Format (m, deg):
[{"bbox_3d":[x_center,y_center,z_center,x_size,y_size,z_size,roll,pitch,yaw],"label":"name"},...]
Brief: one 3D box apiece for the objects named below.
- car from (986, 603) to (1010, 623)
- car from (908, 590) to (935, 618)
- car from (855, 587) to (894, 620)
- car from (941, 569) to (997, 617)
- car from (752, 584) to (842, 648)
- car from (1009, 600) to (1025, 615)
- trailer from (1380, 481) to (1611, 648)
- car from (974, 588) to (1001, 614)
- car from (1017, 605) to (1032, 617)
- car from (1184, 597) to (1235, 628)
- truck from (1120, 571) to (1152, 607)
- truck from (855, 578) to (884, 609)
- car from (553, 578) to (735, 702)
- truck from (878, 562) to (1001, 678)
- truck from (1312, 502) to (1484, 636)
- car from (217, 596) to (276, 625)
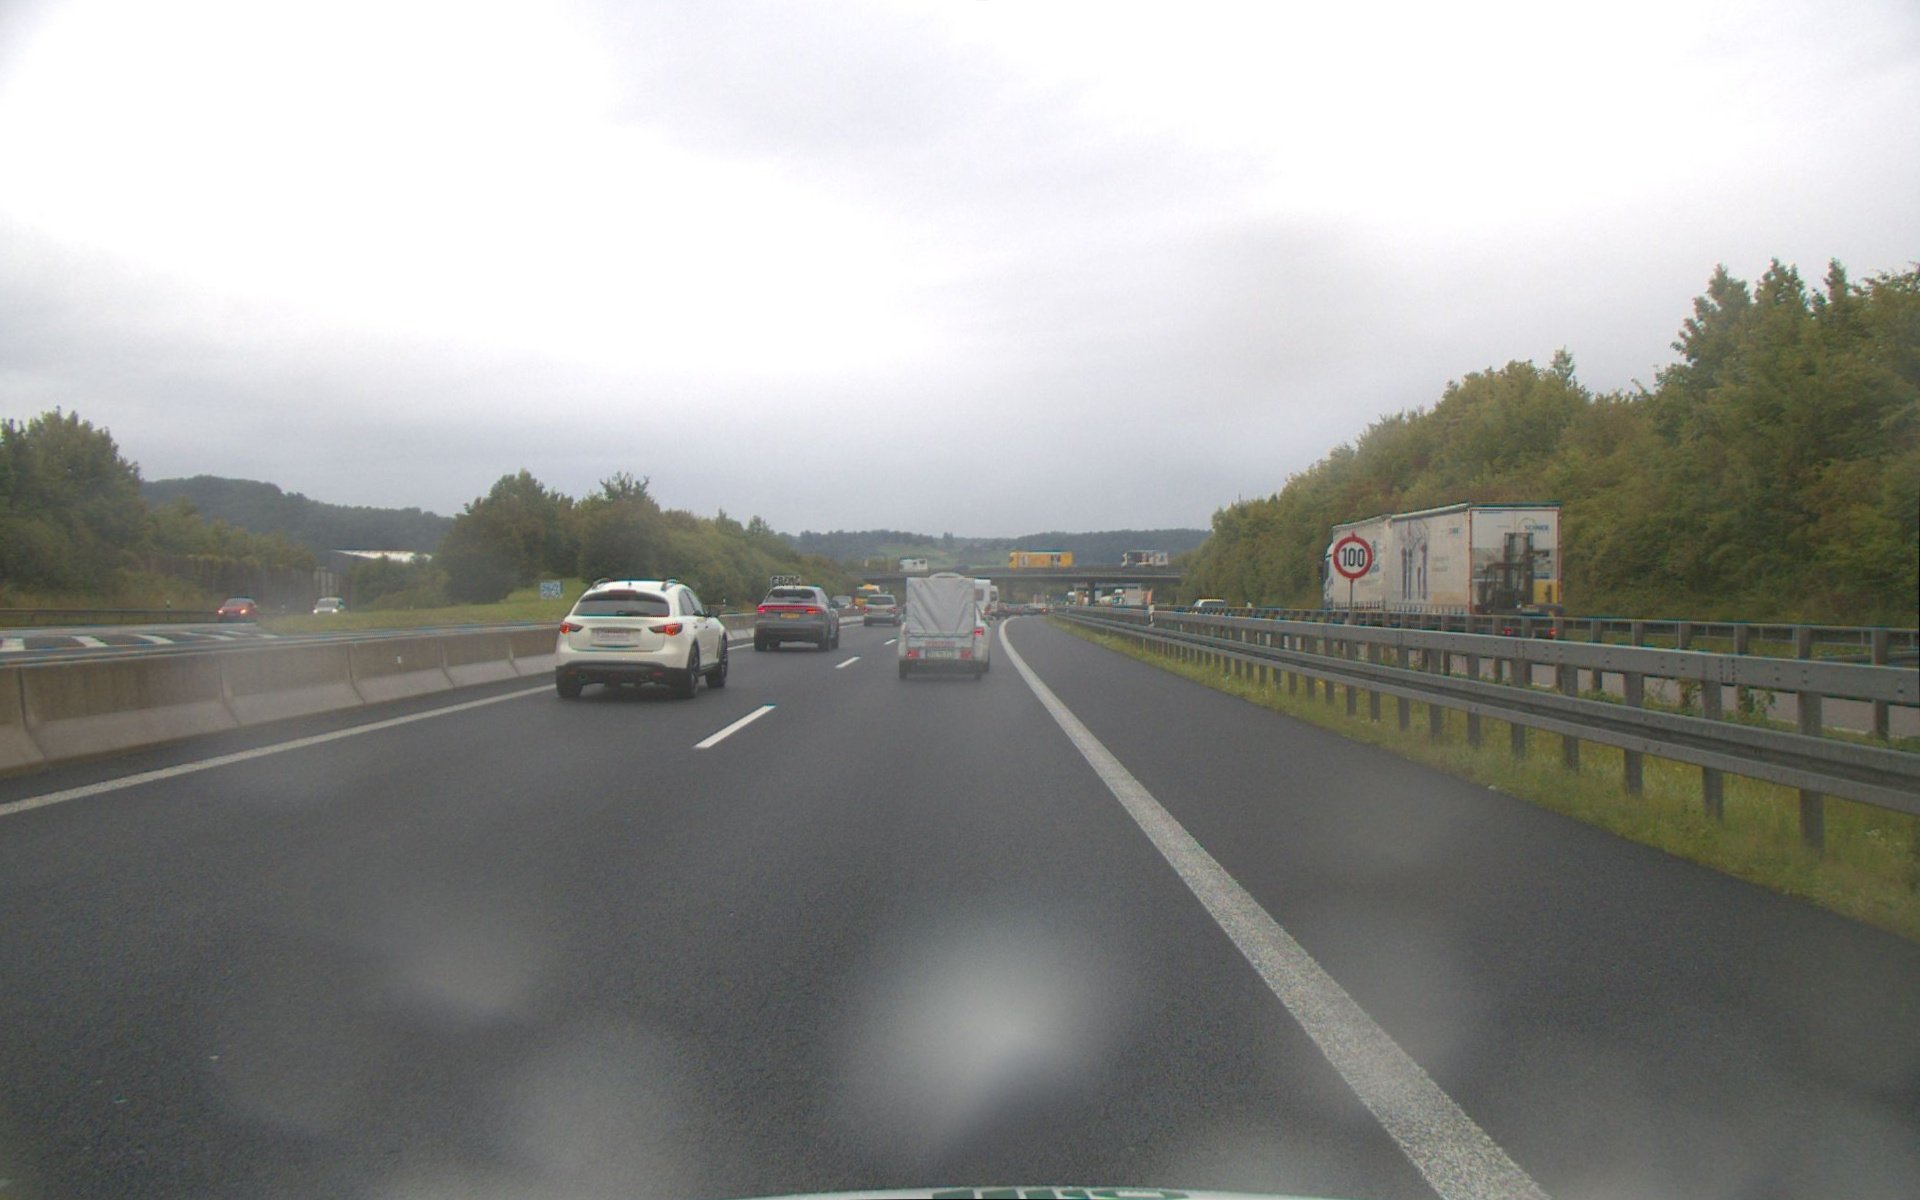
[{"bbox_3d":[3.496,1.184,153.111,1.953,1.780,3.998,1,0,-2],"label":"car"},{"bbox_3d":[-2.660,0.255,114.344,1.804,1.851,4.000,0,0,0],"label":"car"},{"bbox_3d":[-4.387,0.164,85.264,1.861,1.641,4.017,0,0,0],"label":"car"},{"bbox_3d":[0.542,-0.417,94.727,2.954,2.662,6.077,0,0,3],"label":"car"},{"bbox_3d":[-4.379,0.419,45.144,2.130,1.660,4.499,0,0,-2],"label":"car"},{"bbox_3d":[7.216,0.923,208.271,1.952,1.780,4.001,1,0,2],"label":"car"},{"bbox_3d":[15.352,-0.957,48.523,3.367,4.364,10.453,0,0,0],"label":"trailer"},{"bbox_3d":[2.187,0.085,133.848,1.953,2.071,4.150,1,0,-2],"label":"car"},{"bbox_3d":[9.255,1.558,236.996,1.952,1.780,4.001,1,0,3],"label":"car"},{"bbox_3d":[11.874,0.578,78.933,1.822,1.472,4.157,0,0,0],"label":"car"},{"bbox_3d":[25.988,-1.595,245.180,4.009,5.193,10.466,0,0,2],"label":"truck"},{"bbox_3d":[-10.515,-0.755,191.696,2.704,3.458,5.847,1,0,3],"label":"truck"},{"bbox_3d":[-4.567,0.536,24.558,1.936,1.668,4.499,0,0,-1],"label":"car"},{"bbox_3d":[-0.272,0.324,32.608,1.977,2.020,7.215,0,0,3],"label":"truck"},{"bbox_3d":[15.337,-1.040,58.979,3.367,4.364,10.417,0,0,0],"label":"truck"},{"bbox_3d":[-42.692,0.605,99.038,2.140,1.725,4.618,0,0,-9],"label":"car"}]
